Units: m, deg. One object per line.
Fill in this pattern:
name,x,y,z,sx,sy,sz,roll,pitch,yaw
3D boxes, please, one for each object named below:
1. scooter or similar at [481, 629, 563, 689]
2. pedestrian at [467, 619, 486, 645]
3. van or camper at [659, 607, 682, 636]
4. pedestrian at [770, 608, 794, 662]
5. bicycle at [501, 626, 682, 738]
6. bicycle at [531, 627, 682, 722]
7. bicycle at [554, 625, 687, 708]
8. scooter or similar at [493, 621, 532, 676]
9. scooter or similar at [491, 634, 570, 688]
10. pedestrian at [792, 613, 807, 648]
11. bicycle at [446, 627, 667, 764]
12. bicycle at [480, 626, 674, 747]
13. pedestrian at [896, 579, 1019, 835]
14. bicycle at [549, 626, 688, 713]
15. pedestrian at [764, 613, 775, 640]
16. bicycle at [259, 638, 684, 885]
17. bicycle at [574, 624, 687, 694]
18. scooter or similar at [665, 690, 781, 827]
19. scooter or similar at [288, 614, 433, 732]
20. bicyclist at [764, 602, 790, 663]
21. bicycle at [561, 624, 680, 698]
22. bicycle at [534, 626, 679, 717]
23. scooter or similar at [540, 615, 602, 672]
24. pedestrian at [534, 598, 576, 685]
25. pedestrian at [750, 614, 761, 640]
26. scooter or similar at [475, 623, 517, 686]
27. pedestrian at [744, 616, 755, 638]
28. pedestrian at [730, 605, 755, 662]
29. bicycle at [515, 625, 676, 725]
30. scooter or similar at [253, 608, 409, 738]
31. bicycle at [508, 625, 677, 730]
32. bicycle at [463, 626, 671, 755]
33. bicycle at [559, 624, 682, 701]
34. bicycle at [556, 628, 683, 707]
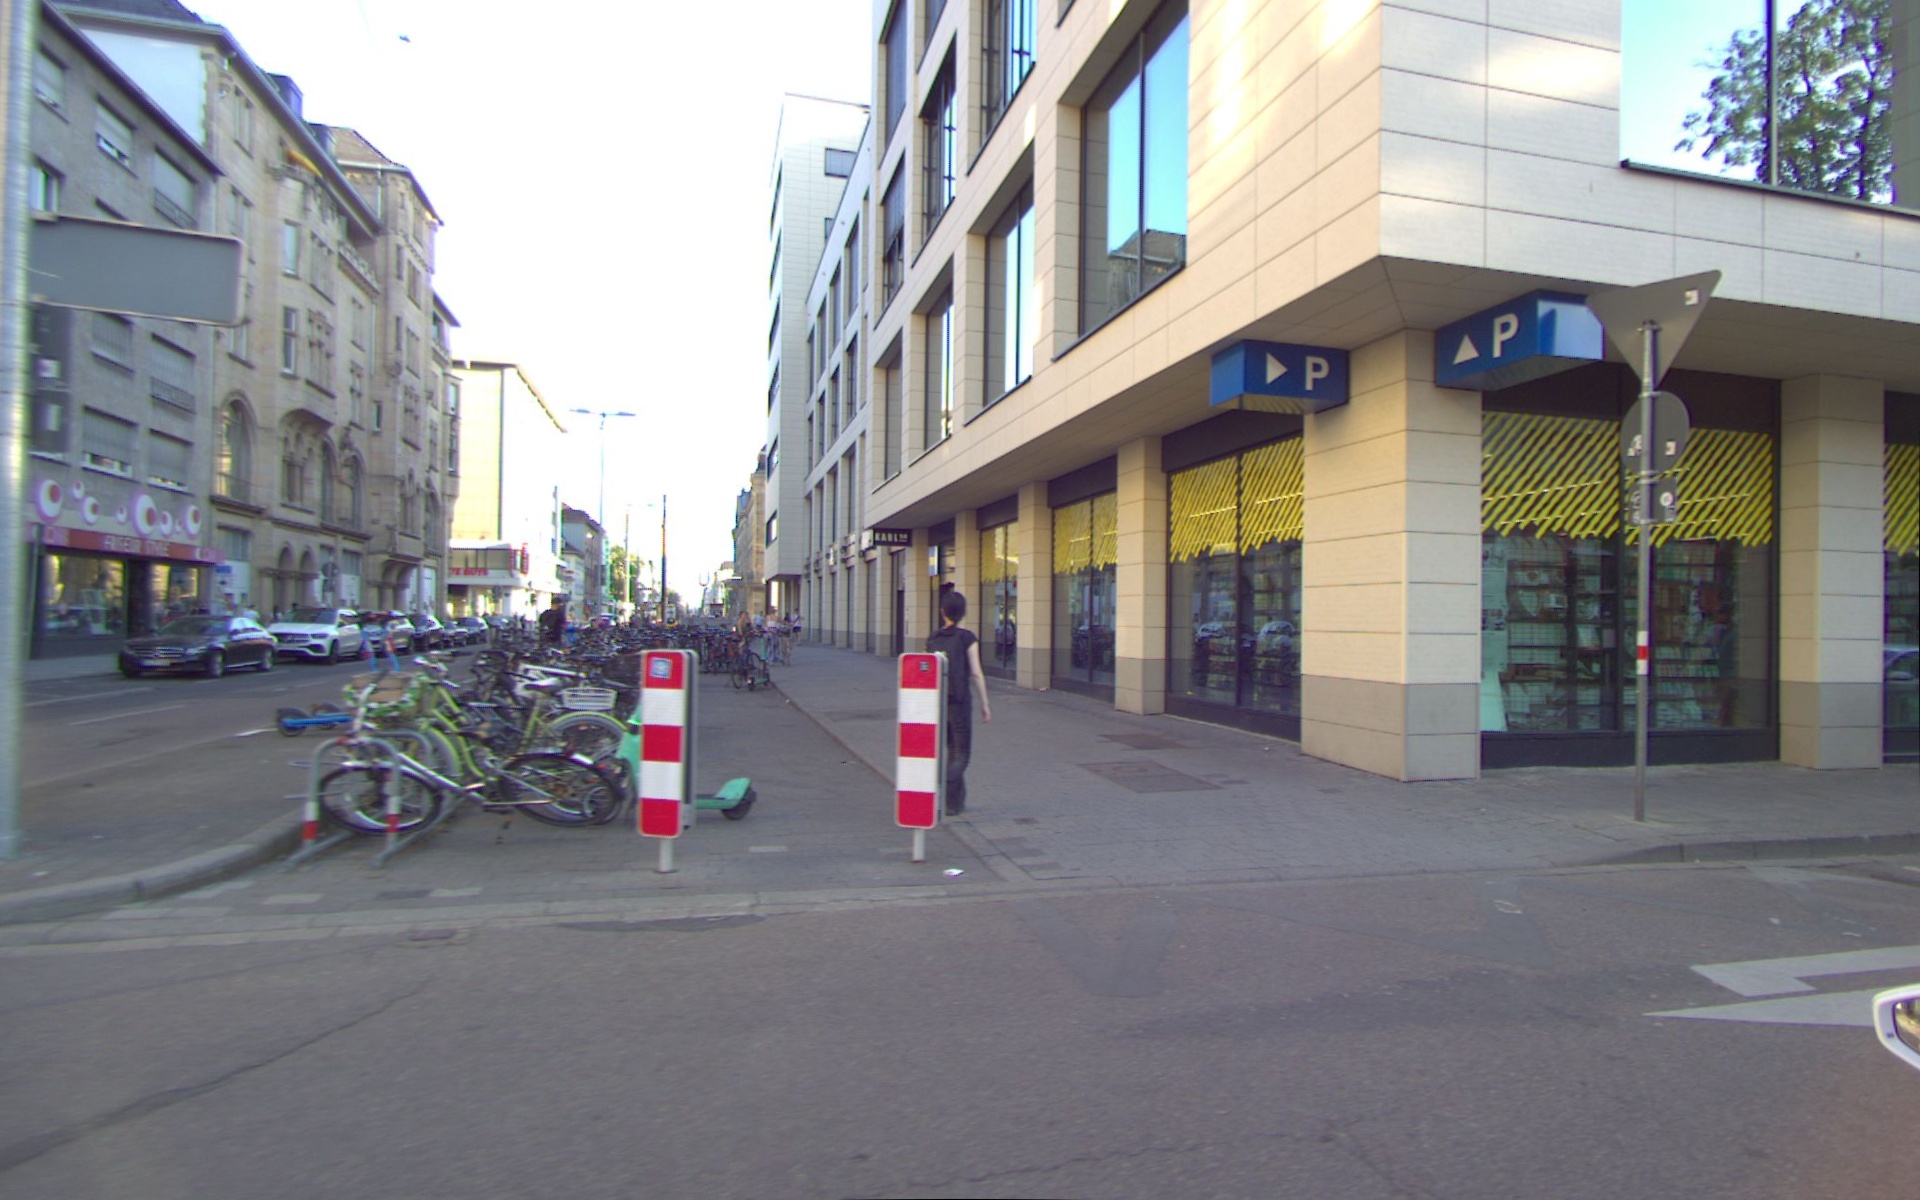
scooter or similar,-7.627,1.026,17.516,1.250,1.005,0.386,2,-1,-17
pedestrian,-27.326,1.792,56.771,0.908,1.447,0.401,1,-1,-20
van or camper,-33.961,2.536,117.889,1.964,3.317,5.155,1,-1,-9
pedestrian,-5.737,1.123,32.374,0.673,1.718,0.642,1,-1,-16
bicycle,-4.337,0.964,11.945,1.947,1.271,0.511,2,-1,-17
bicycle,-4.929,1.038,14.111,1.947,1.271,0.511,2,-1,-17
bicycle,-5.385,1.063,16.009,1.947,1.271,0.511,2,-1,-17
scooter or similar,-10.202,1.091,22.925,0.507,1.196,1.268,1,-1,-12
scooter or similar,-7.756,1.103,18.182,1.250,0.954,0.386,2,-1,-17
pedestrian,-7.944,1.518,49.676,0.673,1.718,0.642,1,-1,-16
bicycle,-3.930,0.924,9.931,1.947,1.271,0.511,2,-1,-17
bicycle,-4.213,0.953,11.187,1.947,1.271,0.511,2,-1,-17
pedestrian,0.002,0.709,7.110,0.606,1.680,0.872,1,-1,19
bicycle,-5.184,1.056,15.359,1.947,1.271,0.511,2,-1,-17
pedestrian,-12.511,1.731,65.961,0.673,1.718,0.642,1,-1,-16
bicycle,-2.743,0.880,5.893,2.107,1.271,0.663,2,-1,-19
bicycle,-6.102,1.097,18.688,1.947,1.271,0.511,2,-1,-17
scooter or similar,-1.670,1.095,7.074,0.757,0.896,0.386,1,-1,-17
scooter or similar,-6.447,0.784,10.847,1.250,1.228,0.386,2,-1,-17
bicyclist,-5.219,0.930,28.567,0.673,1.718,0.642,1,-1,-15
bicycle,-6.018,1.084,17.876,1.947,1.271,0.511,2,-1,-17
bicycle,-5.130,1.044,14.683,1.947,1.271,0.511,2,-1,-17
scooter or similar,-8.855,0.987,22.878,1.250,1.259,0.386,2,-1,-17
pedestrian,-8.165,0.834,20.274,0.672,1.718,0.643,1,-1,-12
pedestrian,-13.386,1.763,65.760,0.673,1.682,0.642,1,-1,-16
scooter or similar,-9.677,1.113,20.977,0.507,1.259,1.268,1,-1,-12
pedestrian,-14.055,1.818,66.932,0.673,1.444,0.642,1,-1,-16
pedestrian,-6.570,1.013,30.355,0.673,1.718,0.642,1,-1,-16
bicycle,-4.793,0.988,13.337,1.947,1.271,0.511,2,-1,-17
scooter or similar,-6.392,0.741,10.255,1.250,1.277,0.386,2,-1,-17
bicycle,-4.616,0.973,12.732,1.948,1.271,0.511,2,-1,-19
bicycle,-4.051,0.928,10.490,1.947,1.271,0.511,2,-1,-17
bicycle,-5.811,1.078,17.281,1.947,1.271,0.511,2,-1,-17
bicycle,-5.635,1.123,16.708,1.947,1.271,0.511,2,-1,-17
